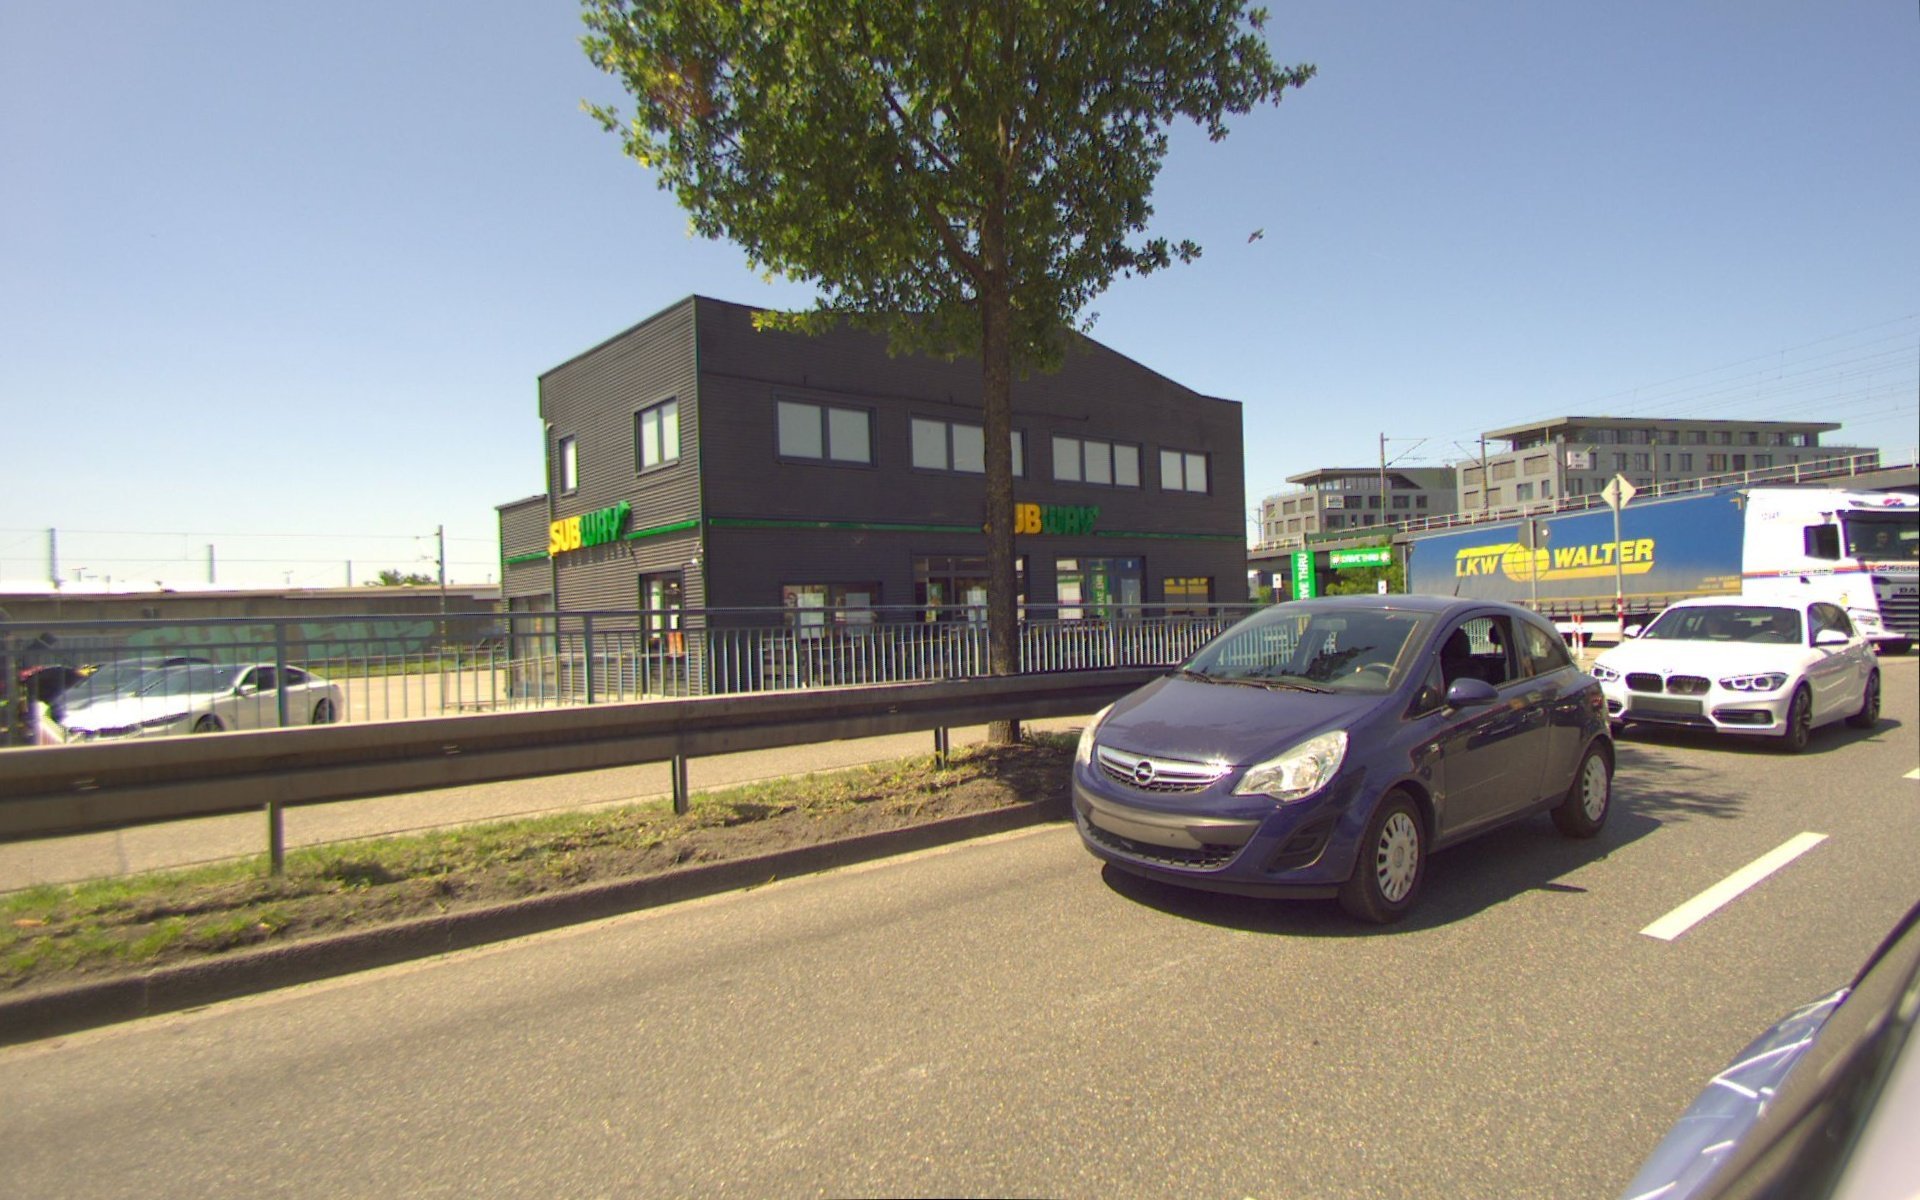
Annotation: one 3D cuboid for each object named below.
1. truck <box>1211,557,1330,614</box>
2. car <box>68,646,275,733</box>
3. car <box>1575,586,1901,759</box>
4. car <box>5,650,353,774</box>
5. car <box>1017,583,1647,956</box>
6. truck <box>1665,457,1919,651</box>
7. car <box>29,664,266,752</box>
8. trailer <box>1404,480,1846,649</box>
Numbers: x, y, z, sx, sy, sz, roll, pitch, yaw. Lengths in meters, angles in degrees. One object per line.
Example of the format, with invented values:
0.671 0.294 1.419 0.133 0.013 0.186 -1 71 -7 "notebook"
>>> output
25.336 -1.218 81.512 2.739 4.155 17.195 -1 0 39 "truck"
-18.325 2.009 23.812 1.623 1.578 4.402 -1 0 -3 "car"
8.305 0.600 10.700 3.978 1.461 1.763 -1 2 -37 "car"
-12.291 1.672 16.508 1.961 1.375 5.086 -1 0 -3 "car"
2.302 0.660 5.816 3.820 1.462 1.650 0 0 -38 "car"
20.658 -0.988 24.619 2.525 4.154 5.766 -1 -1 -4 "truck"
-15.346 1.990 19.364 1.453 1.269 3.609 -1 0 5 "car"
19.436 -0.798 31.803 2.448 4.142 13.927 -1 -1 -11 "trailer"
